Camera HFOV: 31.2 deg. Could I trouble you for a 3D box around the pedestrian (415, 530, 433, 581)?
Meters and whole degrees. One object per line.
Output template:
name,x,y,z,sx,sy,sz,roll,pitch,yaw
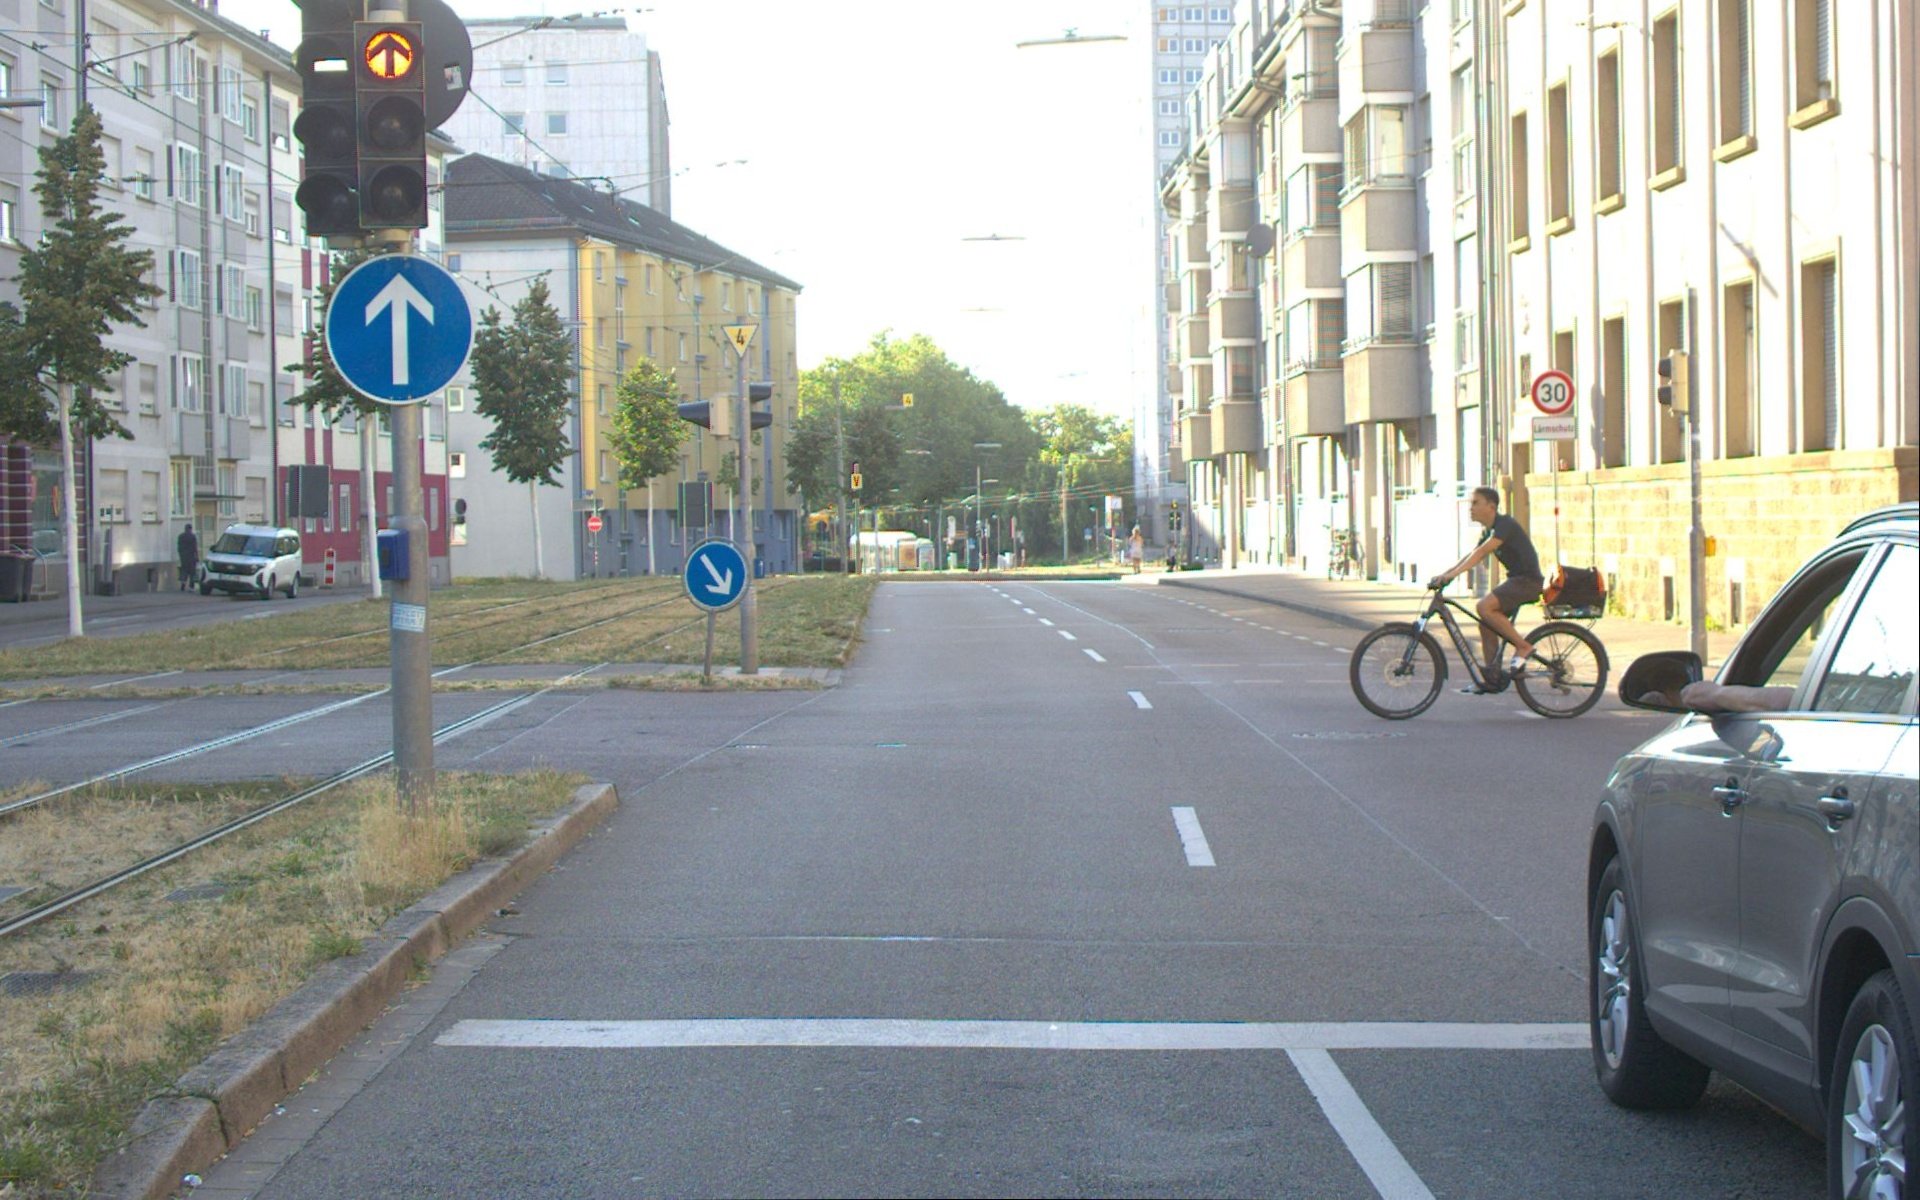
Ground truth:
pedestrian,-17.516,-1.450,112.344,0.495,1.652,0.408,-1,1,0

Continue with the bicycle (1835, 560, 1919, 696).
bicycle,8.172,0.221,27.993,1.943,1.090,0.575,0,1,-3

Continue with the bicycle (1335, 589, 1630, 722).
bicycle,3.846,0.399,25.366,1.978,0.891,0.786,-2,1,-10

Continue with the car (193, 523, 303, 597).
car,-18.061,-1.015,87.355,1.812,1.791,4.245,1,1,1

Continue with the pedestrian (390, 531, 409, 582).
pedestrian,-18.269,-1.429,112.053,0.495,1.652,0.408,-1,1,0

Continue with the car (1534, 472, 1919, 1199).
car,2.515,0.515,7.553,1.770,1.570,4.086,-1,1,0

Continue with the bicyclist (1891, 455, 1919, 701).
bicyclist,8.179,-0.190,27.993,0.959,1.981,0.672,-1,1,-3

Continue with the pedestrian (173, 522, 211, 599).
pedestrian,-20.006,-1.033,89.550,0.786,2.007,0.891,-1,1,-4

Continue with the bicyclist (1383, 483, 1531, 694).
bicyclist,3.670,-0.092,25.397,0.903,1.521,0.648,-1,1,-10
